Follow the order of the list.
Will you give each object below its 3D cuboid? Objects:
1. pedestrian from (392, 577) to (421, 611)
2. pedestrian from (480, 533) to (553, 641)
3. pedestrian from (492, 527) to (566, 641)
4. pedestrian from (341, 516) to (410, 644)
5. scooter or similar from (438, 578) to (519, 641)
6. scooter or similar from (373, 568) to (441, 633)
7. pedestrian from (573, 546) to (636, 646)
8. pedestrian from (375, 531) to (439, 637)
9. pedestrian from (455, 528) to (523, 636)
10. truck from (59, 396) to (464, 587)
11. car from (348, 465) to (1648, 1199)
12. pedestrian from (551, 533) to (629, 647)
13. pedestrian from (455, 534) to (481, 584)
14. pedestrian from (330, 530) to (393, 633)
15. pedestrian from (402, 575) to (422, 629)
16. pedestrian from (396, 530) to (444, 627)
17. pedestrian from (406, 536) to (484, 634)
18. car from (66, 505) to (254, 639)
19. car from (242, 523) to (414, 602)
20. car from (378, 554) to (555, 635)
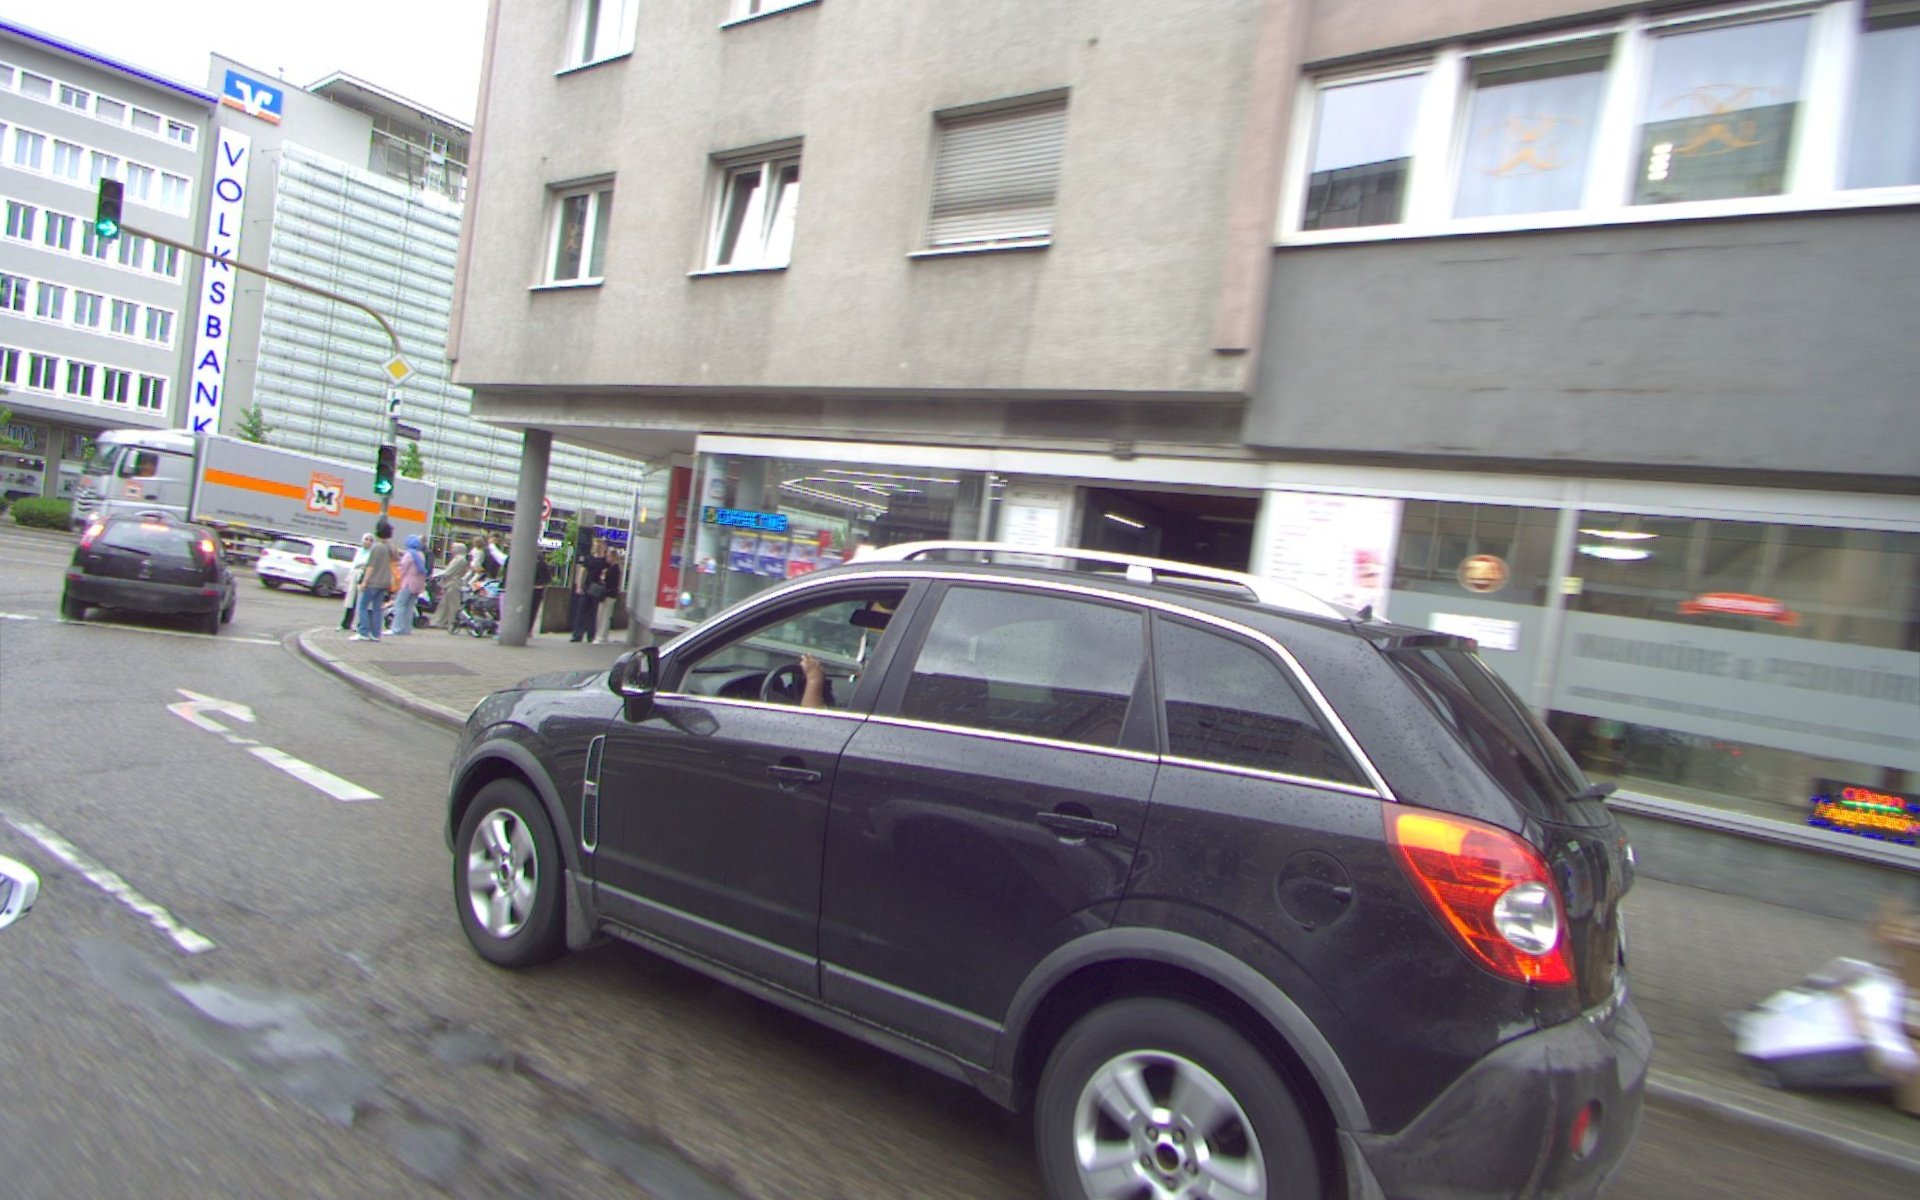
[{"bbox_3d":[-10.422,-0.116,18.944,0.369,0.578,0.453,5,2,-39],"label":"pedestrian"},{"bbox_3d":[-7.498,-0.214,17.021,0.609,1.744,0.834,5,0,40],"label":"pedestrian"},{"bbox_3d":[-7.761,-0.282,18.112,0.721,1.955,0.817,6,1,40],"label":"pedestrian"},{"bbox_3d":[-8.269,-0.284,14.260,0.619,1.713,0.778,5,1,-23],"label":"pedestrian"},{"bbox_3d":[-8.315,0.166,17.381,1.031,0.998,0.771,4,0,31],"label":"scooter or similar"},{"bbox_3d":[-10.407,0.013,18.936,0.965,1.123,0.648,5,2,-39],"label":"scooter or similar"},{"bbox_3d":[-6.123,-0.066,17.346,0.825,1.659,0.614,5,3,36],"label":"pedestrian"},{"bbox_3d":[-9.075,-0.249,16.531,0.734,1.655,0.594,4,0,-17],"label":"pedestrian"},{"bbox_3d":[-8.554,-0.318,18.277,0.648,1.889,0.835,4,1,36],"label":"pedestrian"},{"bbox_3d":[-23.238,-3.375,34.496,2.811,4.384,10.746,8,-1,35],"label":"truck"},{"bbox_3d":[-0.142,0.705,3.773,4.232,1.806,1.910,9,0,34],"label":"car"},{"bbox_3d":[-6.580,-0.165,17.895,0.822,1.887,0.667,8,-1,11],"label":"pedestrian"},{"bbox_3d":[-8.772,-0.737,17.942,0.219,0.857,0.436,9,-1,-37],"label":"pedestrian"},{"bbox_3d":[-9.871,-0.307,16.583,0.825,1.659,0.539,3,2,32],"label":"pedestrian"},{"bbox_3d":[-10.619,0.035,19.485,0.258,1.013,0.467,2,4,-35],"label":"pedestrian"},{"bbox_3d":[-10.915,-0.415,20.326,0.613,1.891,0.778,3,0,-42],"label":"pedestrian"},{"bbox_3d":[-9.888,-0.289,19.324,1.031,1.745,0.828,5,2,-42],"label":"pedestrian"},{"bbox_3d":[-11.307,-0.448,14.162,1.712,1.436,3.726,10,-3,-41],"label":"car"},{"bbox_3d":[-17.156,-0.953,27.575,1.921,1.592,4.001,10,-1,1],"label":"car"},{"bbox_3d":[-13.039,-0.086,26.876,1.919,1.592,4.004,10,-1,15],"label":"car"}]
